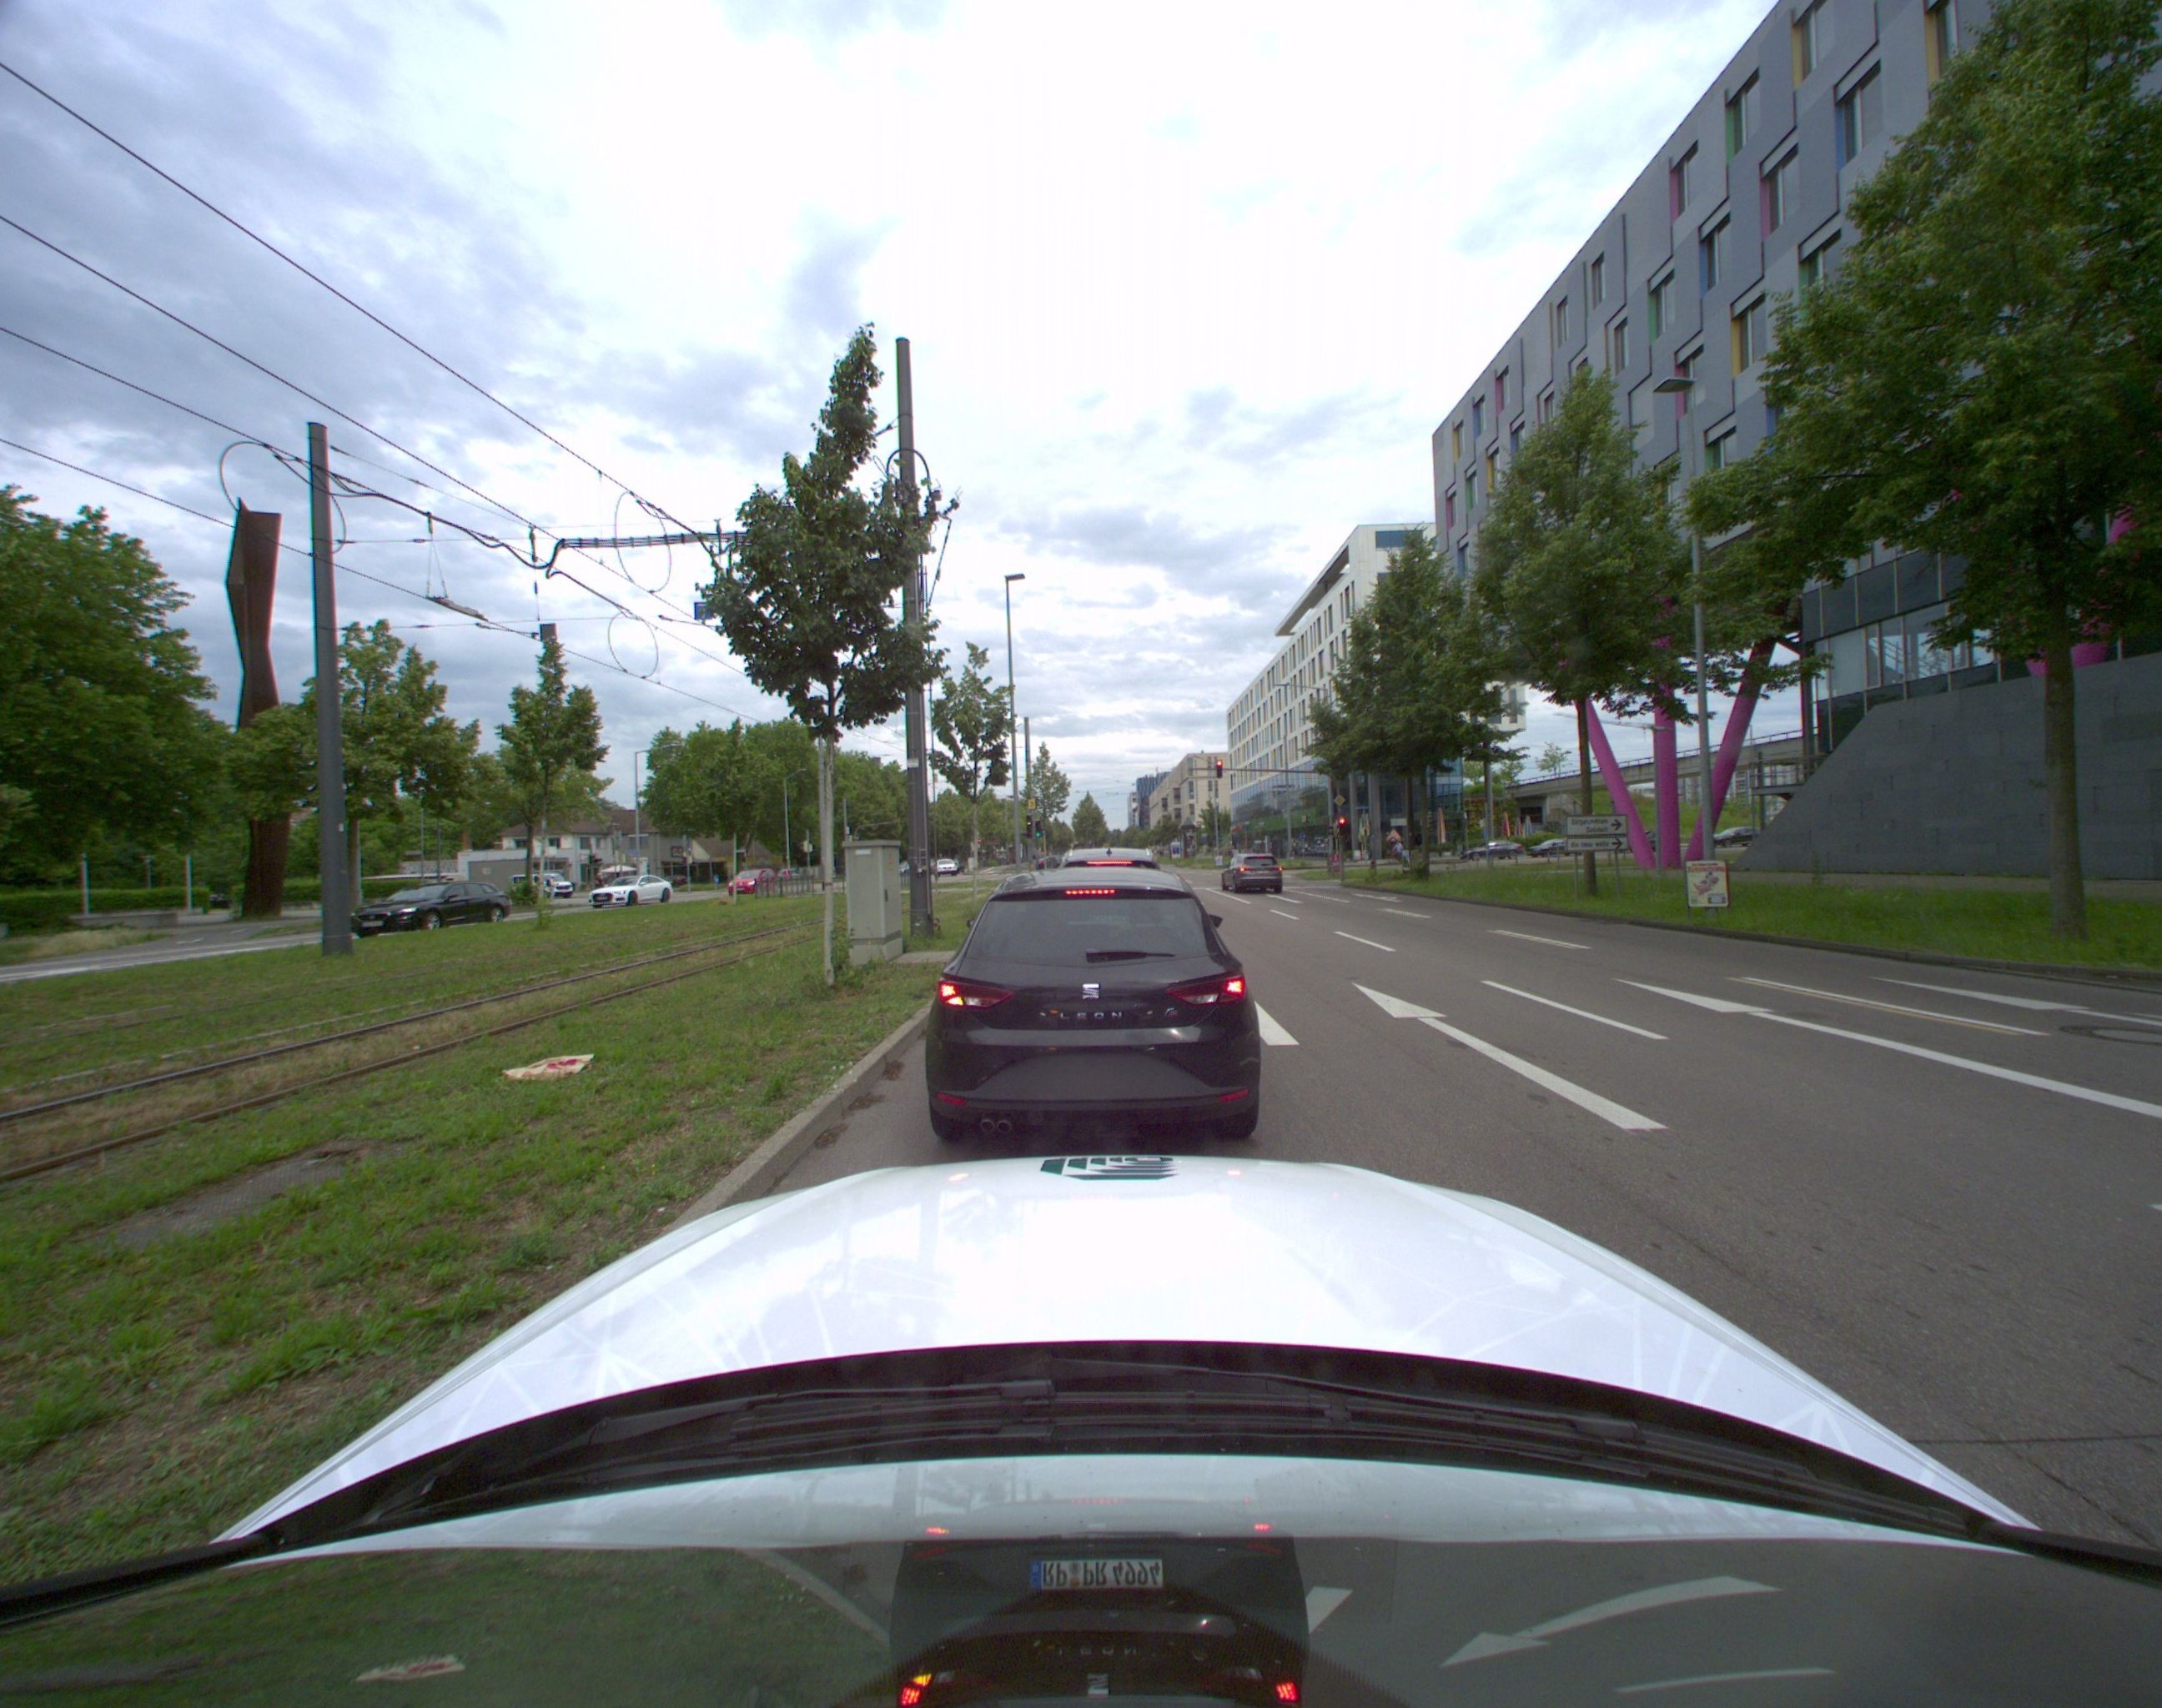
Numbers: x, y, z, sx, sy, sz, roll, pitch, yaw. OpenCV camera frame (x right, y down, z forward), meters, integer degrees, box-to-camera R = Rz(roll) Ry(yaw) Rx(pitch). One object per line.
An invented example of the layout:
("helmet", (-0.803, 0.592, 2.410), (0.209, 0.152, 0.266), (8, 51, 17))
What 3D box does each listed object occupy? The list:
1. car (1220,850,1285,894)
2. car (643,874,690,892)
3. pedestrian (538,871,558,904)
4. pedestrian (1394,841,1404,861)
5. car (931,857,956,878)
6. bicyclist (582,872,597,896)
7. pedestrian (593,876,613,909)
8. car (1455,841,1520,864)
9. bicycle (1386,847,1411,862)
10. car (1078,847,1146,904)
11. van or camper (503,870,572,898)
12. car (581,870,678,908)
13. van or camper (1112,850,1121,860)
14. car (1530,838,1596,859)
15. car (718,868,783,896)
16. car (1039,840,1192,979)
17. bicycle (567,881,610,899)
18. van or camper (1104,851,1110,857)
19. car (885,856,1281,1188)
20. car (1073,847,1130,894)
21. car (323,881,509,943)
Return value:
("car", (6.544, 0.633, 31.512), (1.741, 1.499, 4.271), (-2, 1, 2))
("car", (-47.139, 3.340, 92.721), (4.258, 1.816, 2.111), (-2, 0, 6))
("pedestrian", (-33.479, 2.102, 51.143), (0.910, 2.013, 0.942), (-2, 0, -40))
("pedestrian", (25.714, -0.231, 65.861), (0.612, 1.604, 0.619), (-2, 0, 4))
("car", (-12.809, 1.238, 75.714), (1.996, 1.750, 4.182), (-2, 0, -13))
("bicyclist", (-35.686, 2.177, 59.139), (0.854, 1.721, 0.715), (-2, 0, -25))
("pedestrian", (-27.703, 2.232, 47.210), (0.779, 1.832, 0.771), (-2, 0, -16))
("car", (31.846, -0.119, 63.878), (4.233, 1.615, 1.759), (-2, 0, 3))
("bicycle", (25.681, 0.032, 65.863), (1.784, 1.085, 0.618), (-2, 0, 3))
("car", (1.080, 0.634, 26.209), (1.984, 1.682, 4.005), (-1, 0, 5))
("van or camper", (-41.619, 2.306, 62.340), (5.212, 2.013, 2.481), (-2, 0, 34))
("car", (-22.104, 1.658, 40.148), (1.805, 1.588, 5.078), (-2, 0, 1))
("van or camper", (8.806, 0.178, 199.504), (2.101, 2.355, 4.927), (-1, 2, 2))
("car", (37.862, -0.417, 64.055), (4.063, 1.455, 1.759), (-2, 0, 3))
("car", (-18.682, 1.541, 46.189), (1.805, 1.377, 4.270), (-2, 0, 1))
("car", (0.477, 0.665, 11.828), (1.796, 1.624, 4.002), (-2, 0, 2))
("bicycle", (-35.720, 2.605, 59.114), (2.520, 1.202, 0.734), (-2, 0, -25))
("van or camper", (7.932, 0.027, 247.490), (1.986, 1.615, 4.792), (-1, 1, 2))
("car", (0.045, 0.750, 5.606), (1.737, 1.417, 4.001), (-1, 0, 1))
("car", (0.851, 0.576, 31.280), (1.985, 1.682, 4.004), (-1, 0, 4))
("car", (-18.444, 1.541, 22.875), (1.795, 1.377, 4.058), (-2, 0, 1))
